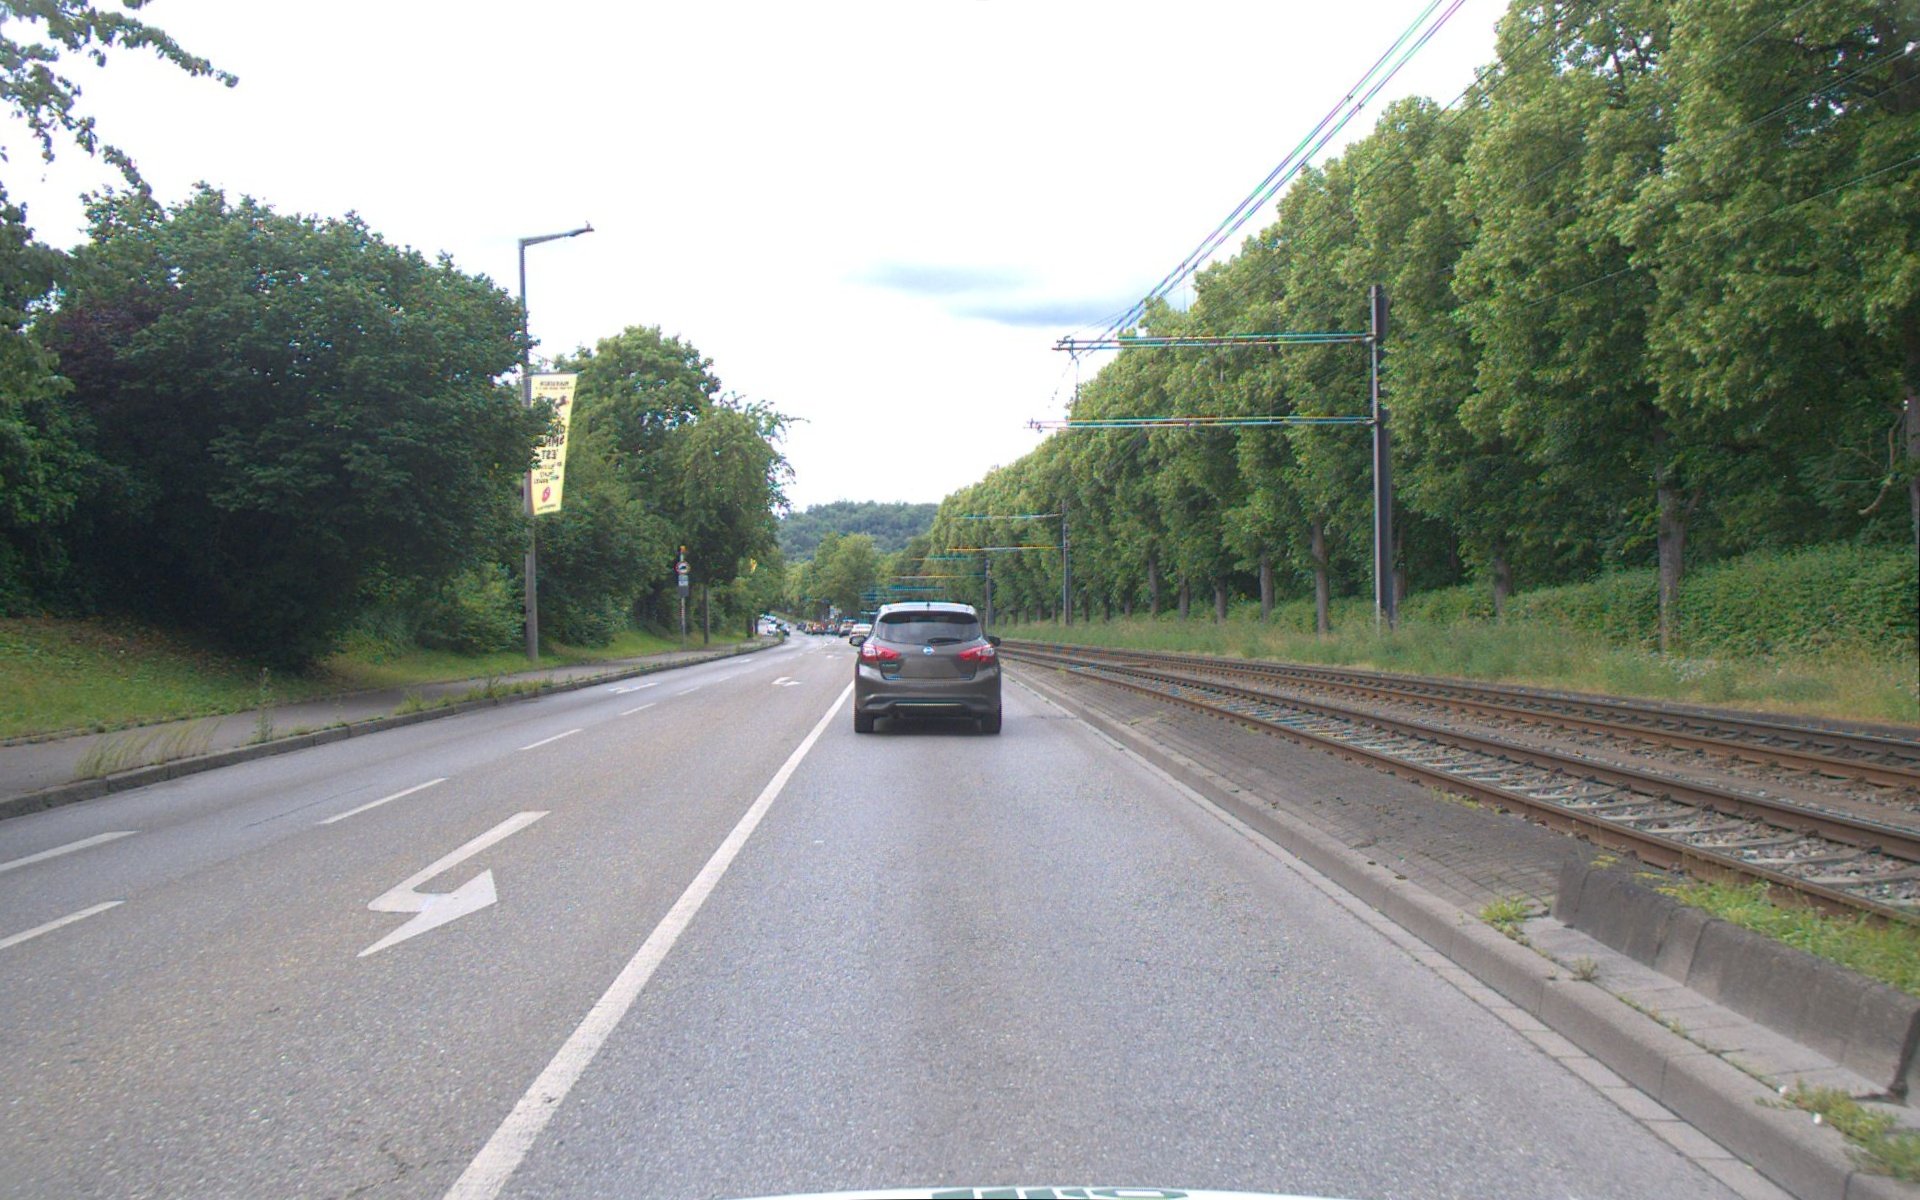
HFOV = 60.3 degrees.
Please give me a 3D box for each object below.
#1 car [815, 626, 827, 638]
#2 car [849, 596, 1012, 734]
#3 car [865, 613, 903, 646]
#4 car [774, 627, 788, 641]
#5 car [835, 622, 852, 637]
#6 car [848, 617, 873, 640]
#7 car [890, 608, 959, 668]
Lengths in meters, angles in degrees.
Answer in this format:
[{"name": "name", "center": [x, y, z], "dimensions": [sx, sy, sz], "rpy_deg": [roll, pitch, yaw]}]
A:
[{"name": "car", "center": [-20.923, 4.817, 249.396], "dimensions": [1.666, 1.744, 3.997], "rpy_deg": [0, -1, -3]}, {"name": "car", "center": [-0.379, 0.752, 20.637], "dimensions": [1.813, 1.519, 3.999], "rpy_deg": [1, -1, -1]}, {"name": "car", "center": [-3.469, 1.364, 75.604], "dimensions": [1.666, 1.469, 3.997], "rpy_deg": [0, -1, -3]}, {"name": "car", "center": [-26.672, 5.101, 246.991], "dimensions": [1.955, 2.072, 5.109], "rpy_deg": [-2, -1, -5]}, {"name": "car", "center": [-12.417, 3.130, 176.480], "dimensions": [1.758, 1.537, 3.997], "rpy_deg": [0, -1, -3]}, {"name": "car", "center": [-6.646, 1.907, 110.472], "dimensions": [1.666, 1.469, 3.997], "rpy_deg": [0, -1, -3]}, {"name": "car", "center": [-0.946, 0.967, 42.407], "dimensions": [1.666, 1.469, 3.997], "rpy_deg": [0, -1, -3]}]
